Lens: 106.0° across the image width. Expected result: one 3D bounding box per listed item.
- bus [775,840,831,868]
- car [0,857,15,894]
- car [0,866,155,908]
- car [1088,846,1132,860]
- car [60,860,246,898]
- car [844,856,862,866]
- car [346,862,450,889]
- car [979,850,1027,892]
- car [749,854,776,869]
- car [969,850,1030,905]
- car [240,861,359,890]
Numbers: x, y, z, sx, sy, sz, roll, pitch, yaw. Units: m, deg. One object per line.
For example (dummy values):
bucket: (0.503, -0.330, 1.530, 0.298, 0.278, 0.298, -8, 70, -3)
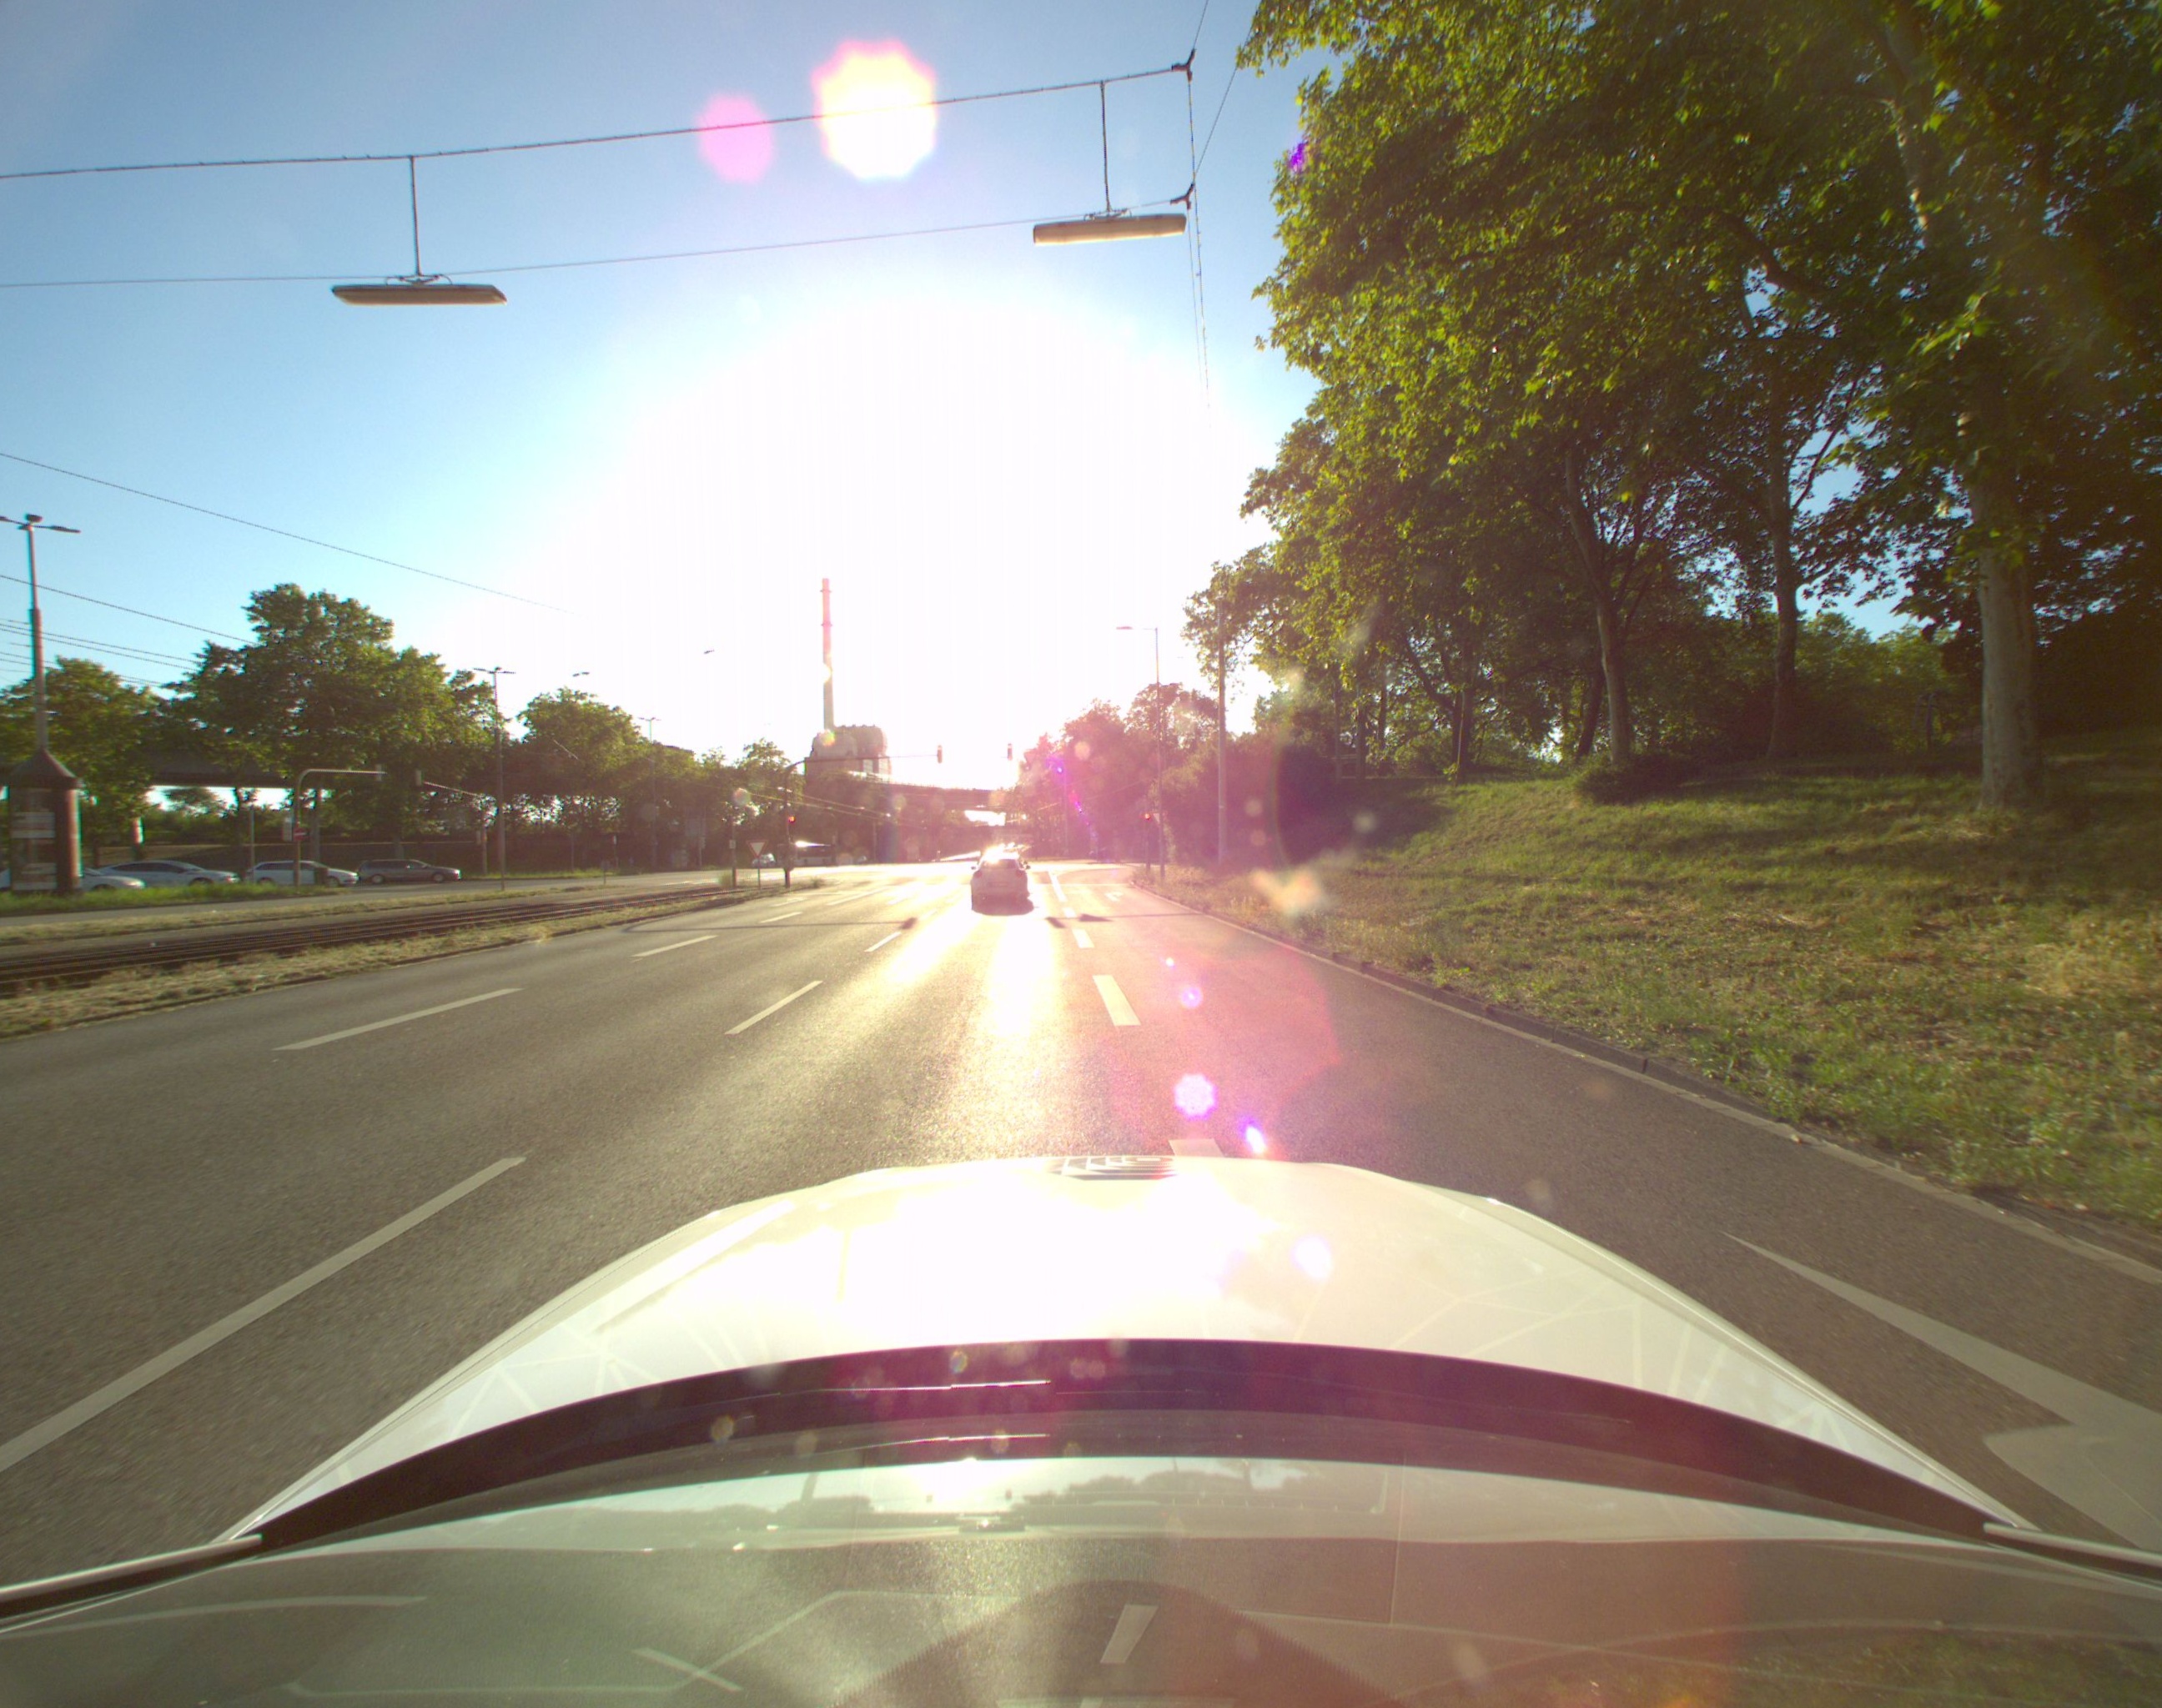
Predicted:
bus: (-34.395, 0.082, 101.451, 2.535, 3.130, 12.913, -2, -1, 0)
car: (-48.453, 0.951, 34.122, 4.262, 1.574, 1.677, -1, 0, -30)
car: (-42.047, 1.341, 34.052, 4.009, 1.574, 1.678, -1, 0, -28)
car: (3.182, -0.119, 88.858, 4.591, 1.574, 1.682, -1, 0, -20)
car: (-42.544, 1.105, 37.530, 5.378, 1.574, 1.726, -1, 0, -27)
car: (-34.593, 1.044, 123.588, 1.602, 1.419, 4.006, 0, 0, -1)
car: (-39.824, 1.236, 47.630, 4.462, 1.405, 1.653, -1, 0, -34)
car: (-3.067, 0.599, 32.054, 1.711, 1.465, 4.199, -2, 1, -6)
car: (-34.153, 0.743, 87.490, 1.604, 1.512, 4.001, 0, 0, -5)
car: (-2.503, 0.678, 25.694, 1.733, 1.505, 3.994, -2, 1, -4)
car: (-40.851, 1.089, 42.693, 4.210, 1.405, 1.654, -1, 0, -31)
